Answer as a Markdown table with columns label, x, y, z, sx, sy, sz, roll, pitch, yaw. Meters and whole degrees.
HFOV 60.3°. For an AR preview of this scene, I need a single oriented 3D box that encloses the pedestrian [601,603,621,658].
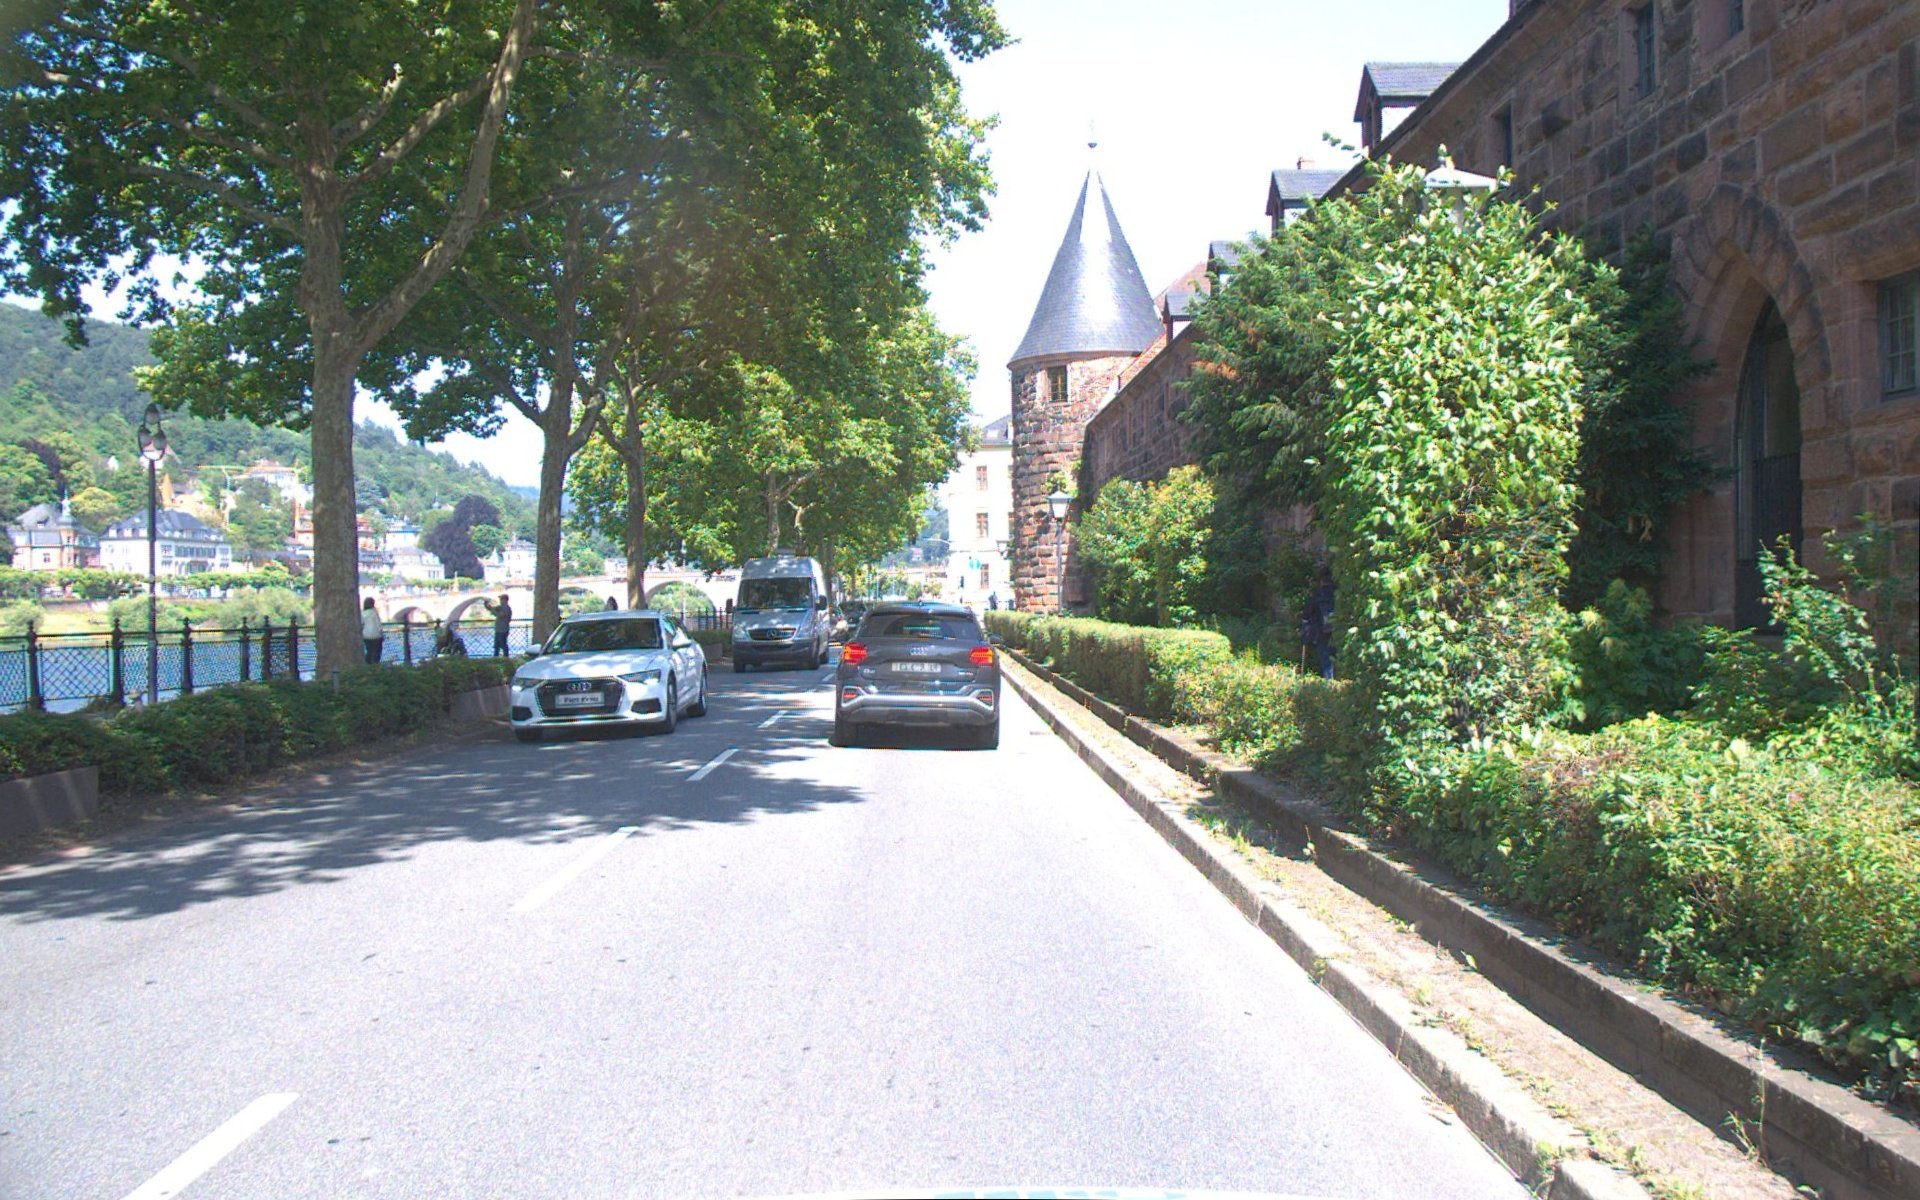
| label | x | y | z | sx | sy | sz | roll | pitch | yaw |
| --- | --- | --- | --- | --- | --- | --- | --- | --- | --- |
| pedestrian | -10.204 | 0.900 | 48.364 | 0.448 | 1.581 | 0.585 | -2 | 0 | -2 |

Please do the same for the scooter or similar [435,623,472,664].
| label | x | y | z | sx | sy | sz | roll | pitch | yaw |
| --- | --- | --- | --- | --- | --- | --- | --- | --- | --- |
| scooter or similar | -12.470 | 1.072 | 40.722 | 0.618 | 0.985 | 1.012 | 1 | -1 | -2 |

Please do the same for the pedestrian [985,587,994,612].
| label | x | y | z | sx | sy | sz | roll | pitch | yaw |
| --- | --- | --- | --- | --- | --- | --- | --- | --- | --- |
| pedestrian | 1.976 | -0.052 | 109.527 | 0.545 | 1.661 | 0.660 | 1 | -1 | 0 |

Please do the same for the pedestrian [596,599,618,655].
| label | x | y | z | sx | sy | sz | roll | pitch | yaw |
| --- | --- | --- | --- | --- | --- | --- | --- | --- | --- |
| pedestrian | -10.167 | 0.763 | 47.650 | 0.448 | 1.581 | 0.585 | -2 | 0 | -2 |

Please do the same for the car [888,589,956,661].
| label | x | y | z | sx | sy | sz | roll | pitch | yaw |
| --- | --- | --- | --- | --- | --- | --- | --- | --- | --- |
| car | -1.159 | 0.728 | 50.546 | 1.953 | 2.049 | 3.999 | -2 | 0 | -1 |

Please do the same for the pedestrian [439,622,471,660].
| label | x | y | z | sx | sy | sz | roll | pitch | yaw |
| --- | --- | --- | --- | --- | --- | --- | --- | --- | --- |
| pedestrian | -12.480 | 1.010 | 40.872 | 0.595 | 0.899 | 0.705 | -1 | 0 | -2 |

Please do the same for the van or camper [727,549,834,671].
| label | x | y | z | sx | sy | sz | roll | pitch | yaw |
| --- | --- | --- | --- | --- | --- | --- | --- | --- | --- |
| van or camper | -4.189 | 0.236 | 39.507 | 1.921 | 2.612 | 5.839 | -3 | 0 | -1 |

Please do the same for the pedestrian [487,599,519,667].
| label | x | y | z | sx | sy | sz | roll | pitch | yaw |
| --- | --- | --- | --- | --- | --- | --- | --- | --- | --- |
| pedestrian | -11.164 | 0.802 | 40.412 | 0.631 | 1.647 | 0.458 | 1 | -1 | -3 |

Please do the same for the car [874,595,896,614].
| label | x | y | z | sx | sy | sz | roll | pitch | yaw |
| --- | --- | --- | --- | --- | --- | --- | --- | --- | --- |
| car | -6.228 | 0.397 | 137.961 | 1.581 | 1.549 | 3.476 | 1 | 0 | 1 |

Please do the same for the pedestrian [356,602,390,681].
| label | x | y | z | sx | sy | sz | roll | pitch | yaw |
| --- | --- | --- | --- | --- | --- | --- | --- | --- | --- |
| pedestrian | -13.081 | 0.923 | 36.863 | 0.573 | 1.740 | 0.403 | 1 | -1 | -3 |

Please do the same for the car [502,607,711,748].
| label | x | y | z | sx | sy | sz | roll | pitch | yaw |
| --- | --- | --- | --- | --- | --- | --- | --- | --- | --- |
| car | -4.273 | 0.871 | 20.688 | 1.734 | 1.482 | 4.532 | -3 | 0 | -2 |

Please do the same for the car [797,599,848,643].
| label | x | y | z | sx | sy | sz | roll | pitch | yaw |
| --- | --- | --- | --- | --- | --- | --- | --- | --- | --- |
| car | -4.988 | 0.742 | 60.469 | 1.616 | 1.495 | 3.778 | -2 | 0 | -2 |

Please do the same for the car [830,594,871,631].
| label | x | y | z | sx | sy | sz | roll | pitch | yaw |
| --- | --- | --- | --- | --- | --- | --- | --- | --- | --- |
| car | -5.454 | 0.619 | 82.669 | 1.839 | 1.728 | 4.257 | -2 | 0 | -2 |

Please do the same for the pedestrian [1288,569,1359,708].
| label | x | y | z | sx | sy | sz | roll | pitch | yaw |
| --- | --- | --- | --- | --- | --- | --- | --- | --- | --- |
| pedestrian | 4.514 | 0.470 | 20.591 | 0.684 | 1.681 | 0.705 | -2 | 0 | 1 |

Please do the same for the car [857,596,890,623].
| label | x | y | z | sx | sy | sz | roll | pitch | yaw |
| --- | --- | --- | --- | --- | --- | --- | --- | --- | --- |
| car | -5.668 | 0.625 | 108.747 | 1.726 | 1.676 | 4.091 | -2 | 0 | 3 |

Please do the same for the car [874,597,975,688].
| label | x | y | z | sx | sy | sz | roll | pitch | yaw |
| --- | --- | --- | --- | --- | --- | --- | --- | --- | --- |
| car | -0.643 | 0.765 | 31.678 | 1.764 | 1.590 | 3.715 | -2 | 0 | 0 |

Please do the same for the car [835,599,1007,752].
| label | x | y | z | sx | sy | sz | roll | pitch | yaw |
| --- | --- | --- | --- | --- | --- | --- | --- | --- | --- |
| car | -0.466 | 0.761 | 18.533 | 1.713 | 1.521 | 3.627 | 1 | 0 | -2 |
